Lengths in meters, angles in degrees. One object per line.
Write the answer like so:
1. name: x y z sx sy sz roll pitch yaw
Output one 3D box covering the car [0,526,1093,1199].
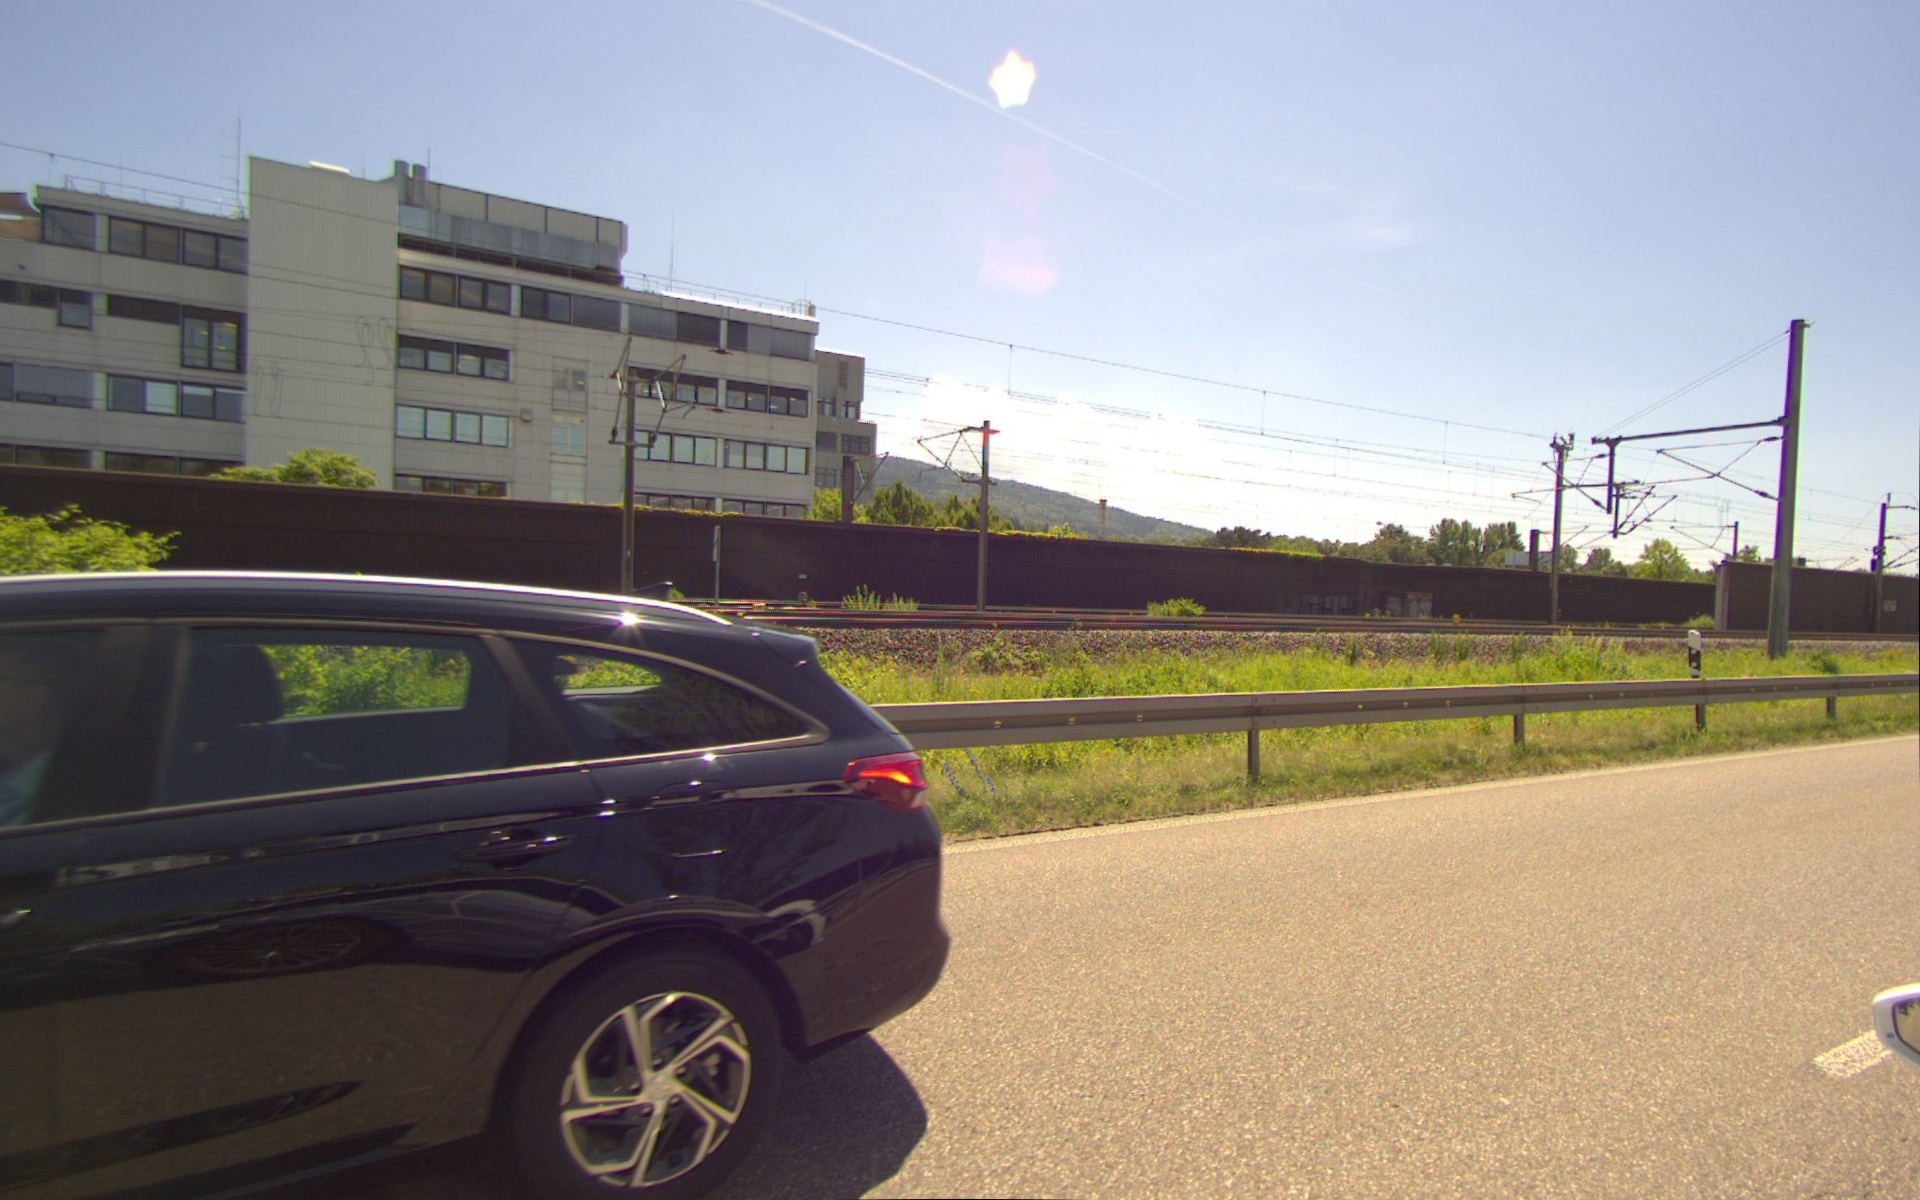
1. car: -1.891 0.638 2.676 4.114 1.528 1.965 2 0 -30
